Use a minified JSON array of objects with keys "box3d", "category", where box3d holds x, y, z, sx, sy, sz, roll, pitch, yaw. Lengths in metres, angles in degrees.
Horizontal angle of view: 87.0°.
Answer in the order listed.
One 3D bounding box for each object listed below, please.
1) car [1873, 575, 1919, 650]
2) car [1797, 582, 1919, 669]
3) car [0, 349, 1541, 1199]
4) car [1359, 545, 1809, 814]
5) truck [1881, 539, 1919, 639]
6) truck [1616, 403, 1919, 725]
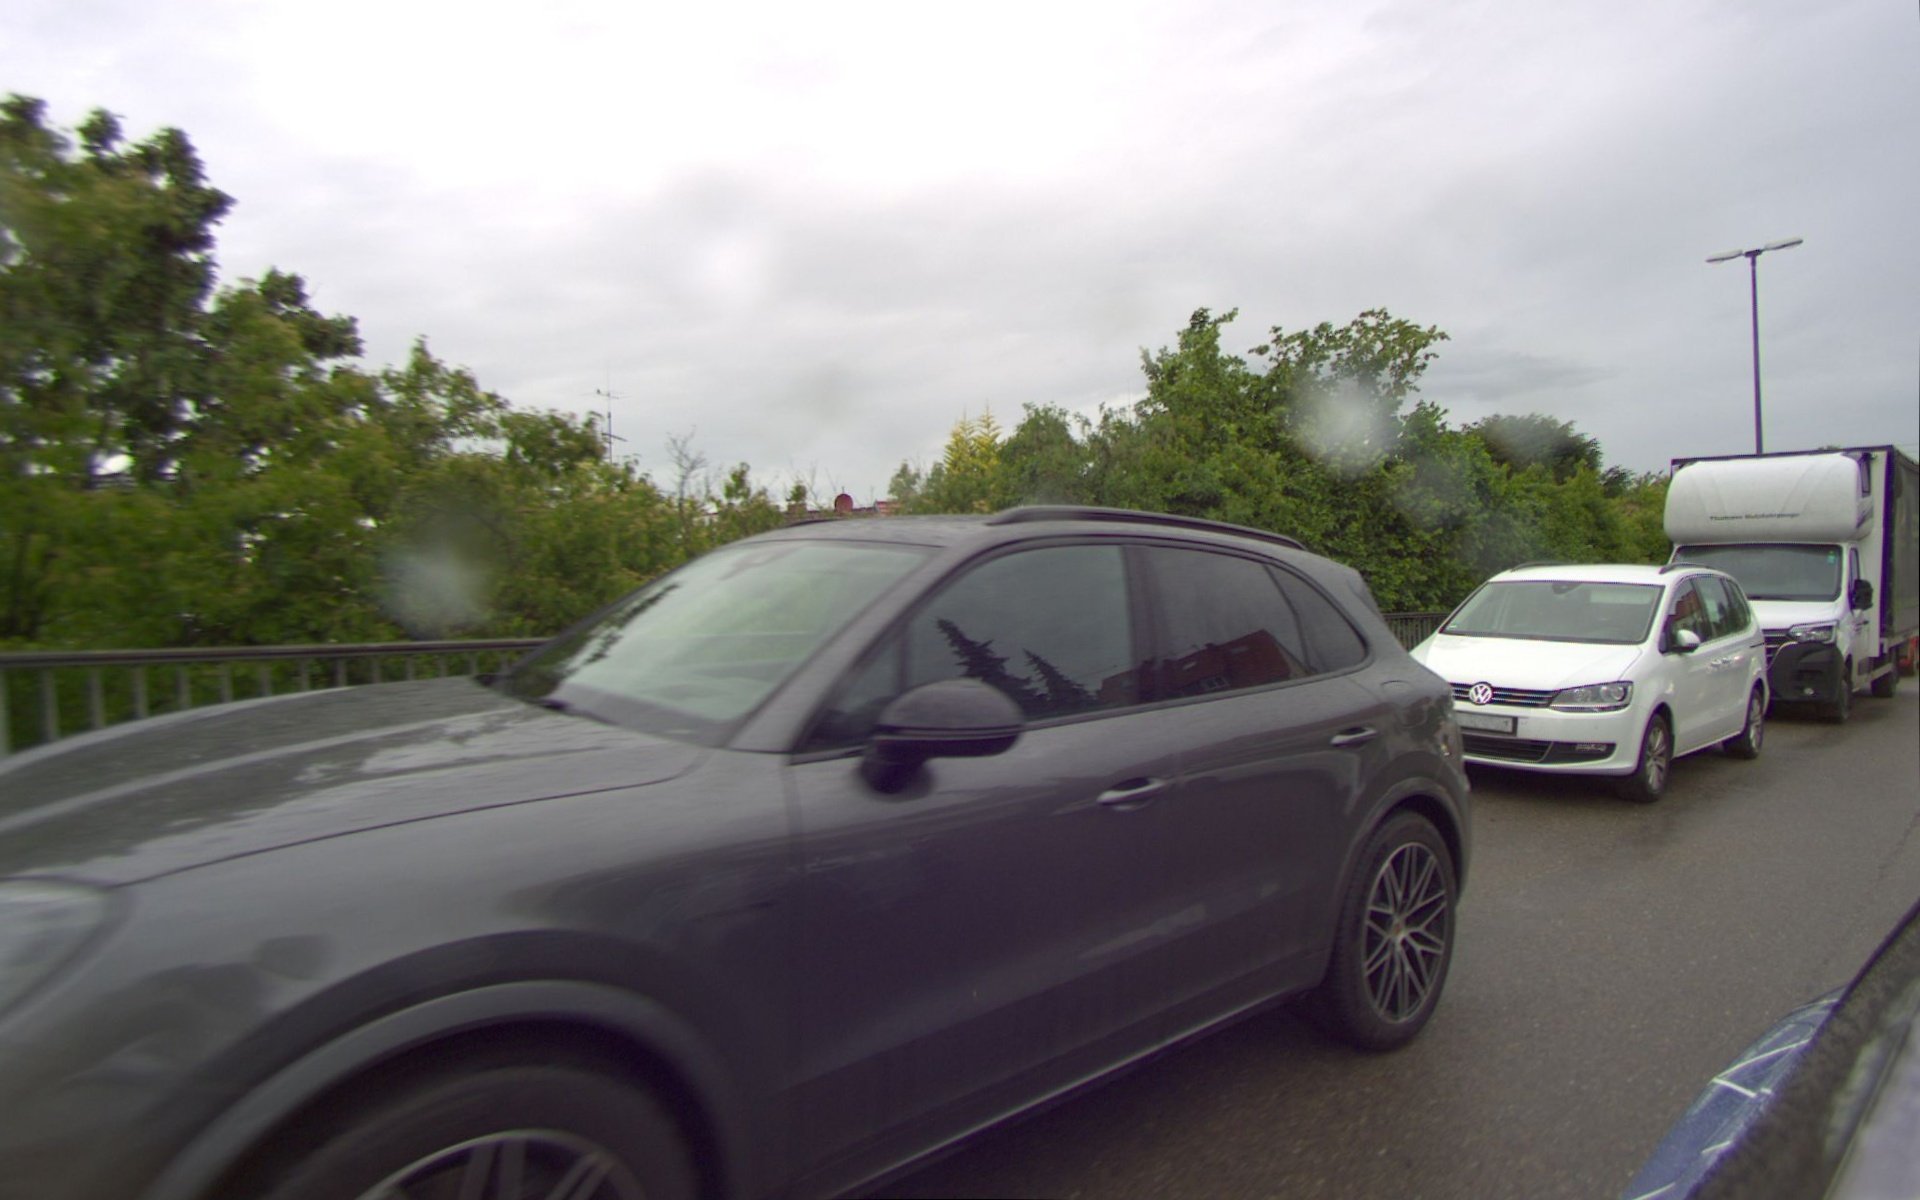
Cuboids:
[{"box3d":[22.913,0.245,23.715,4.587,1.624,1.762,-1,2,-42],"category":"car"},{"box3d":[17.822,0.393,19.579,4.902,1.455,1.835,-1,2,-42],"category":"car"},{"box3d":[-0.225,0.530,3.065,4.610,1.692,1.941,-1,2,-39],"category":"car"},{"box3d":[5.764,0.435,8.942,5.541,1.704,1.849,-1,2,-41],"category":"car"},{"box3d":[28.297,-0.350,28.820,6.423,2.664,2.244,-1,2,-40],"category":"truck"},{"box3d":[11.836,-0.473,14.148,7.827,3.376,2.440,-1,2,-41],"category":"truck"}]
